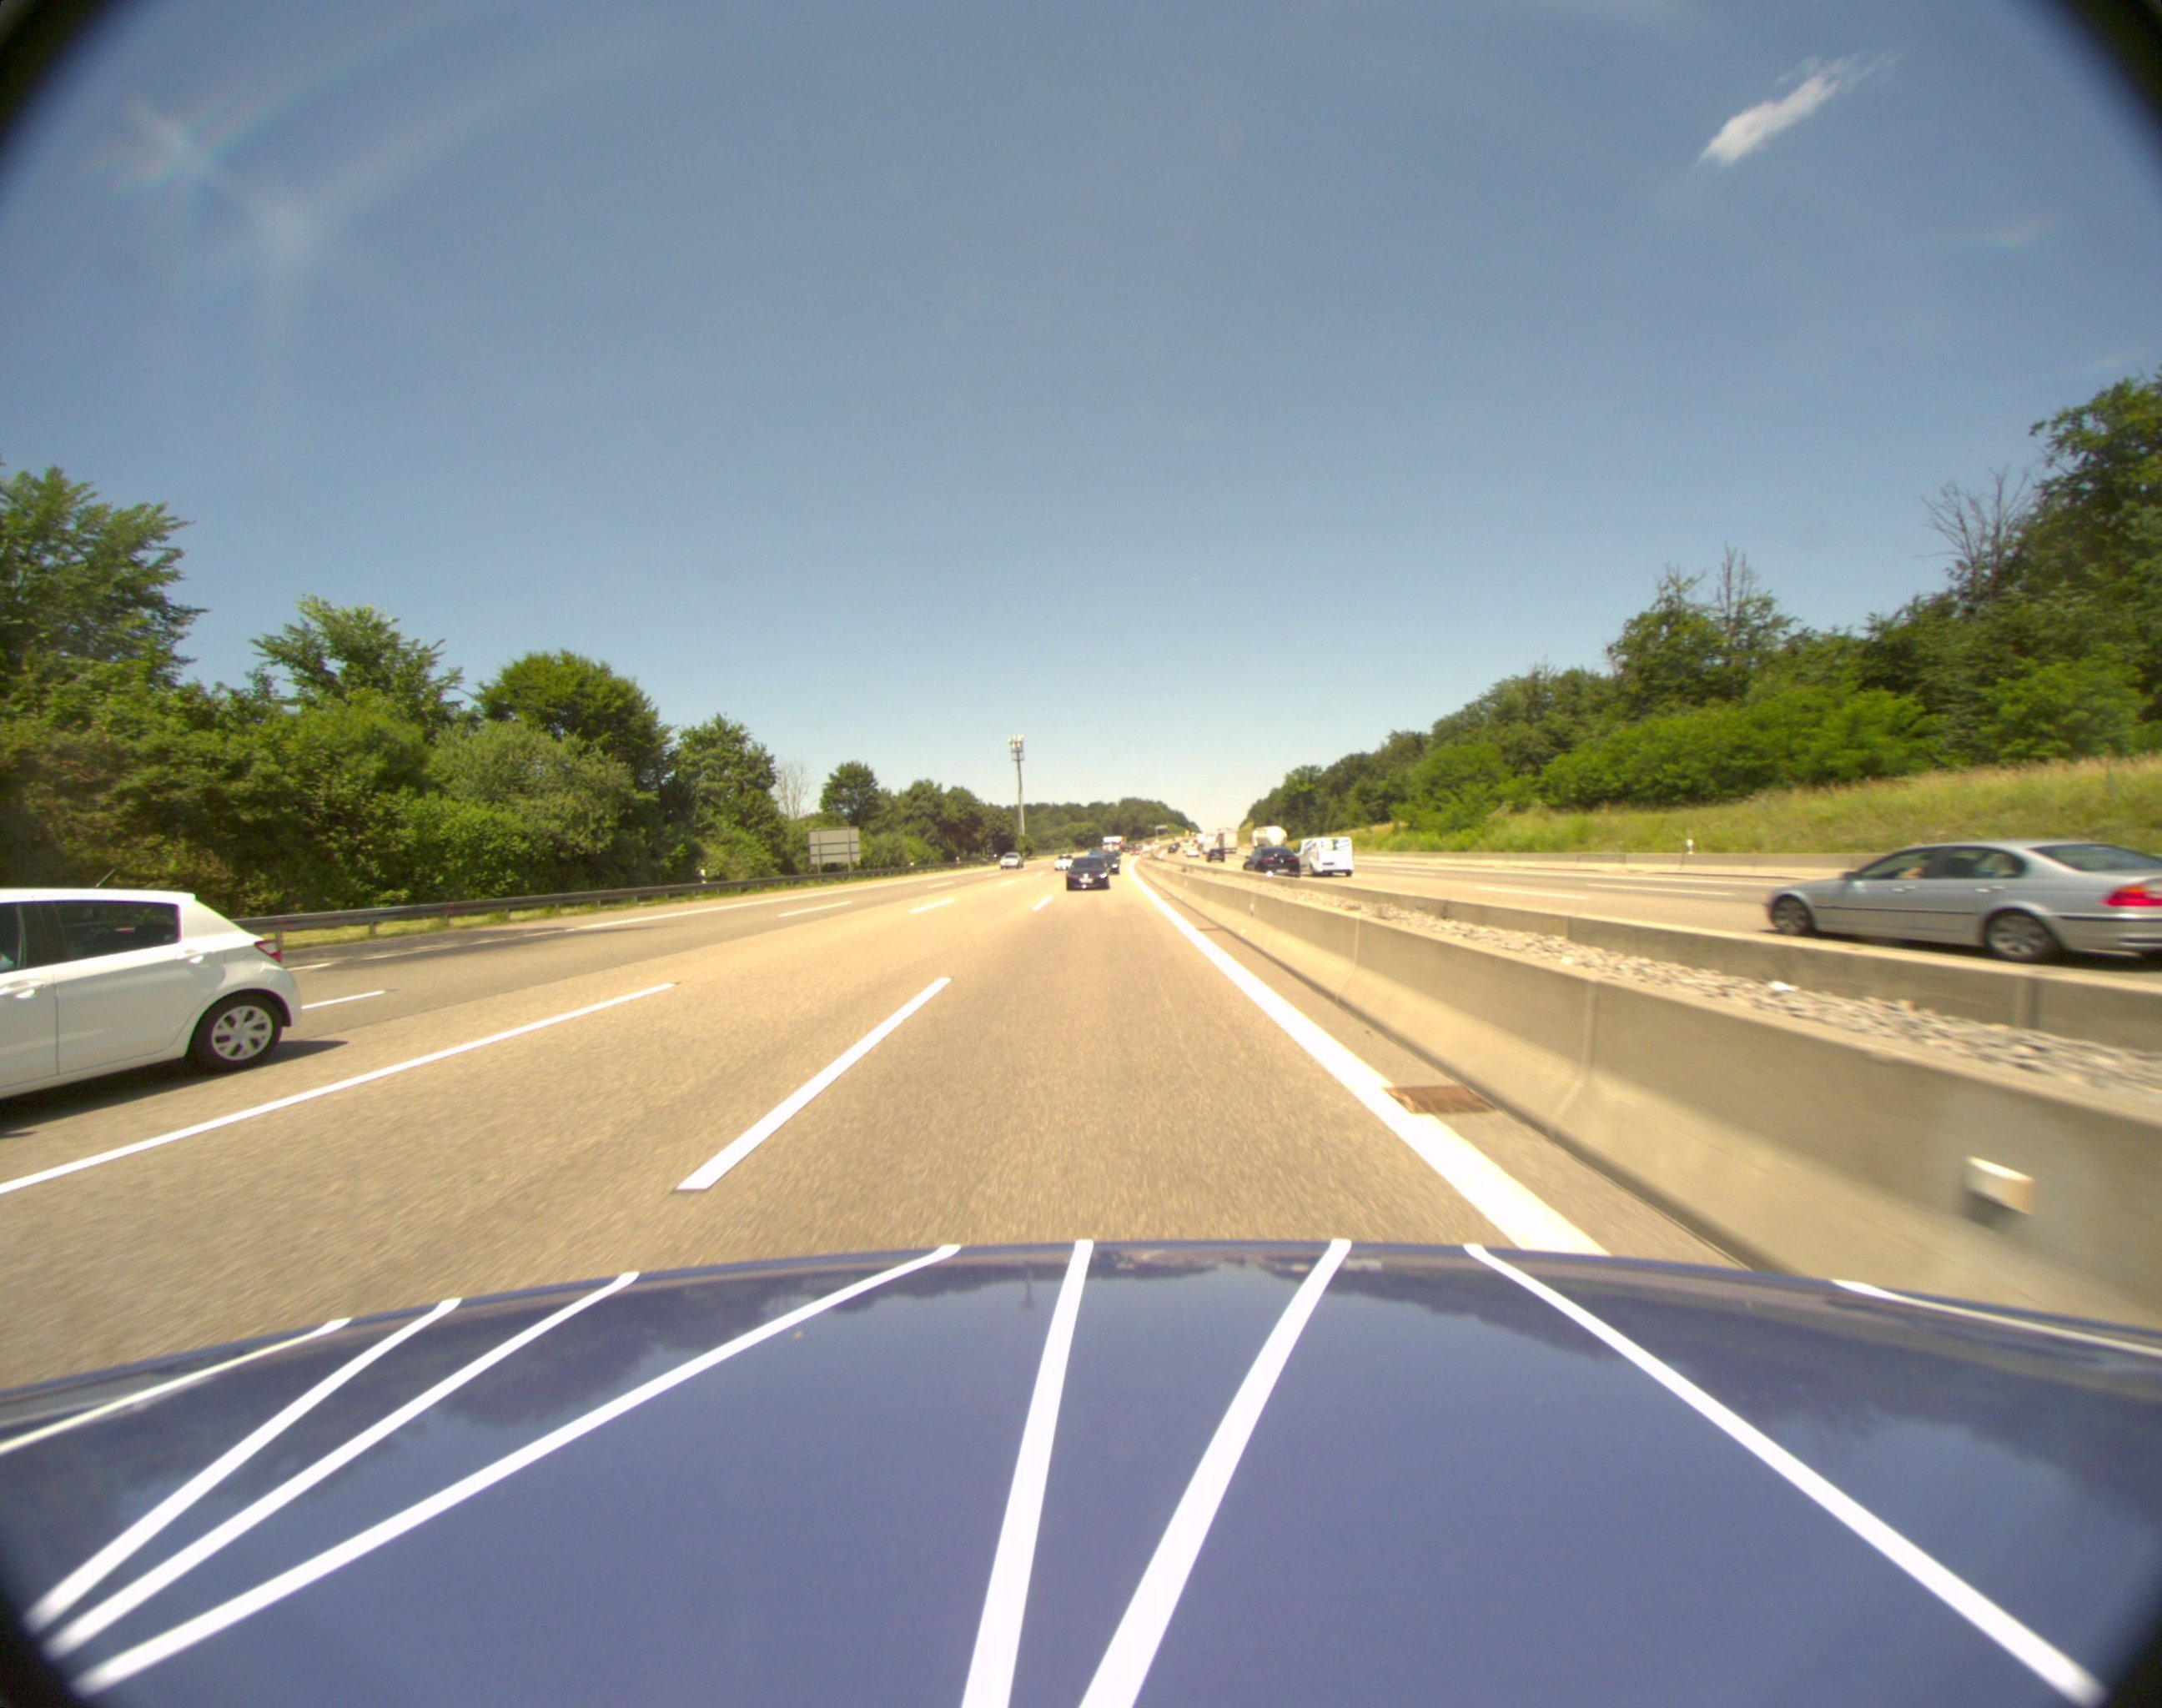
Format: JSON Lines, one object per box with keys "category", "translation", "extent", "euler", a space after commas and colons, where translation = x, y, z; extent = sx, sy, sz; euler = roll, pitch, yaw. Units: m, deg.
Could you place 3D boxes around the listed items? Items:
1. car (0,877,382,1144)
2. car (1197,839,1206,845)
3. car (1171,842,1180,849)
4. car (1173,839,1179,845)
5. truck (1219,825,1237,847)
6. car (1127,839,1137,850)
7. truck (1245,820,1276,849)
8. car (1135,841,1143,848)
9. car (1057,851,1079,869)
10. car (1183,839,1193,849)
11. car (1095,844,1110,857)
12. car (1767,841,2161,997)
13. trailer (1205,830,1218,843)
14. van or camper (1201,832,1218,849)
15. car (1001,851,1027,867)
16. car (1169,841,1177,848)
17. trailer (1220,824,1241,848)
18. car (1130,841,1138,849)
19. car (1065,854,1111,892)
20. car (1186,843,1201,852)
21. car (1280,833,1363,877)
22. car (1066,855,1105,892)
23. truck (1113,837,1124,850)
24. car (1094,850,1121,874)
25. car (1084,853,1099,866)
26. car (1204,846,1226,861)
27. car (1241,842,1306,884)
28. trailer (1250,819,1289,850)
{"category": "car", "translation": [-7.472, 1.036, 4.846], "extent": [1.754, 1.510, 4.483], "euler": [-2, 1, 1]}
{"category": "car", "translation": [29.726, -2.945, 187.255], "extent": [1.997, 1.488, 4.799], "euler": [-2, 1, 6]}
{"category": "car", "translation": [23.674, -2.124, 190.287], "extent": [1.876, 1.624, 5.165], "euler": [-2, 1, 6]}
{"category": "car", "translation": [31.345, -3.971, 250.171], "extent": [1.922, 1.674, 4.001], "euler": [-3, 1, 6]}
{"category": "truck", "translation": [30.006, -3.720, 155.145], "extent": [3.048, 4.347, 6.457], "euler": [-2, 1, 8]}
{"category": "car", "translation": [10.635, -1.962, 158.217], "extent": [1.998, 2.001, 4.002], "euler": [-3, -1, 4]}
{"category": "truck", "translation": [23.478, -2.558, 99.608], "extent": [2.710, 3.523, 6.621], "euler": [-3, 1, 3]}
{"category": "car", "translation": [18.143, -2.918, 237.921], "extent": [1.998, 2.002, 3.999], "euler": [-3, 1, 2]}
{"category": "car", "translation": [-1.158, 0.524, 68.582], "extent": [1.729, 1.521, 3.741], "euler": [-2, 1, 2]}
{"category": "car", "translation": [23.805, -2.256, 169.359], "extent": [2.007, 2.002, 5.186], "euler": [-2, 1, 6]}
{"category": "car", "translation": [3.533, -0.538, 125.958], "extent": [1.997, 2.002, 4.001], "euler": [-2, 1, 7]}
{"category": "car", "translation": [11.116, 0.583, 9.241], "extent": [1.704, 1.394, 4.350], "euler": [-2, 1, 2]}
{"category": "trailer", "translation": [41.413, -5.451, 241.012], "extent": [3.236, 4.014, 15.291], "euler": [-2, 1, 6]}
{"category": "van or camper", "translation": [23.895, -2.455, 141.321], "extent": [2.564, 2.914, 7.352], "euler": [-1, 0, 6]}
{"category": "car", "translation": [-6.865, 0.486, 78.431], "extent": [1.998, 1.521, 4.000], "euler": [-2, 1, 3]}
{"category": "car", "translation": [19.657, -2.028, 162.708], "extent": [1.677, 1.488, 4.953], "euler": [-3, 1, 6]}
{"category": "trailer", "translation": [29.116, -3.563, 148.816], "extent": [3.037, 4.336, 14.281], "euler": [-2, 1, 8]}
{"category": "car", "translation": [13.404, -2.227, 193.310], "extent": [1.998, 1.848, 4.000], "euler": [-3, 1, 4]}
{"category": "car", "translation": [0.348, 0.766, 32.959], "extent": [1.760, 1.431, 4.000], "euler": [-2, 1, 3]}
{"category": "car", "translation": [17.766, -1.044, 120.334], "extent": [1.998, 1.451, 5.048], "euler": [-2, 1, 4]}
{"category": "car", "translation": [12.474, 0.010, 40.036], "extent": [2.201, 2.043, 7.140], "euler": [-2, 1, 1]}
{"category": "car", "translation": [0.231, 0.829, 32.869], "extent": [1.447, 1.376, 3.049], "euler": [-2, 2, 3]}
{"category": "truck", "translation": [9.952, -2.791, 200.602], "extent": [2.434, 3.458, 7.023], "euler": [-3, 1, 4]}
{"category": "car", "translation": [1.892, 0.574, 52.815], "extent": [1.769, 1.495, 4.001], "euler": [-3, -1, 3]}
{"category": "car", "translation": [1.432, 0.720, 101.843], "extent": [1.998, 1.521, 4.233], "euler": [-3, 1, 1]}
{"category": "car", "translation": [14.623, -0.096, 83.105], "extent": [1.679, 1.517, 4.610], "euler": [-3, 1, 2]}
{"category": "car", "translation": [8.575, 0.325, 34.251], "extent": [1.831, 1.652, 4.916], "euler": [-3, 1, 3]}
{"category": "trailer", "translation": [23.247, -2.402, 94.155], "extent": [2.657, 3.515, 10.494], "euler": [-3, 1, 3]}
